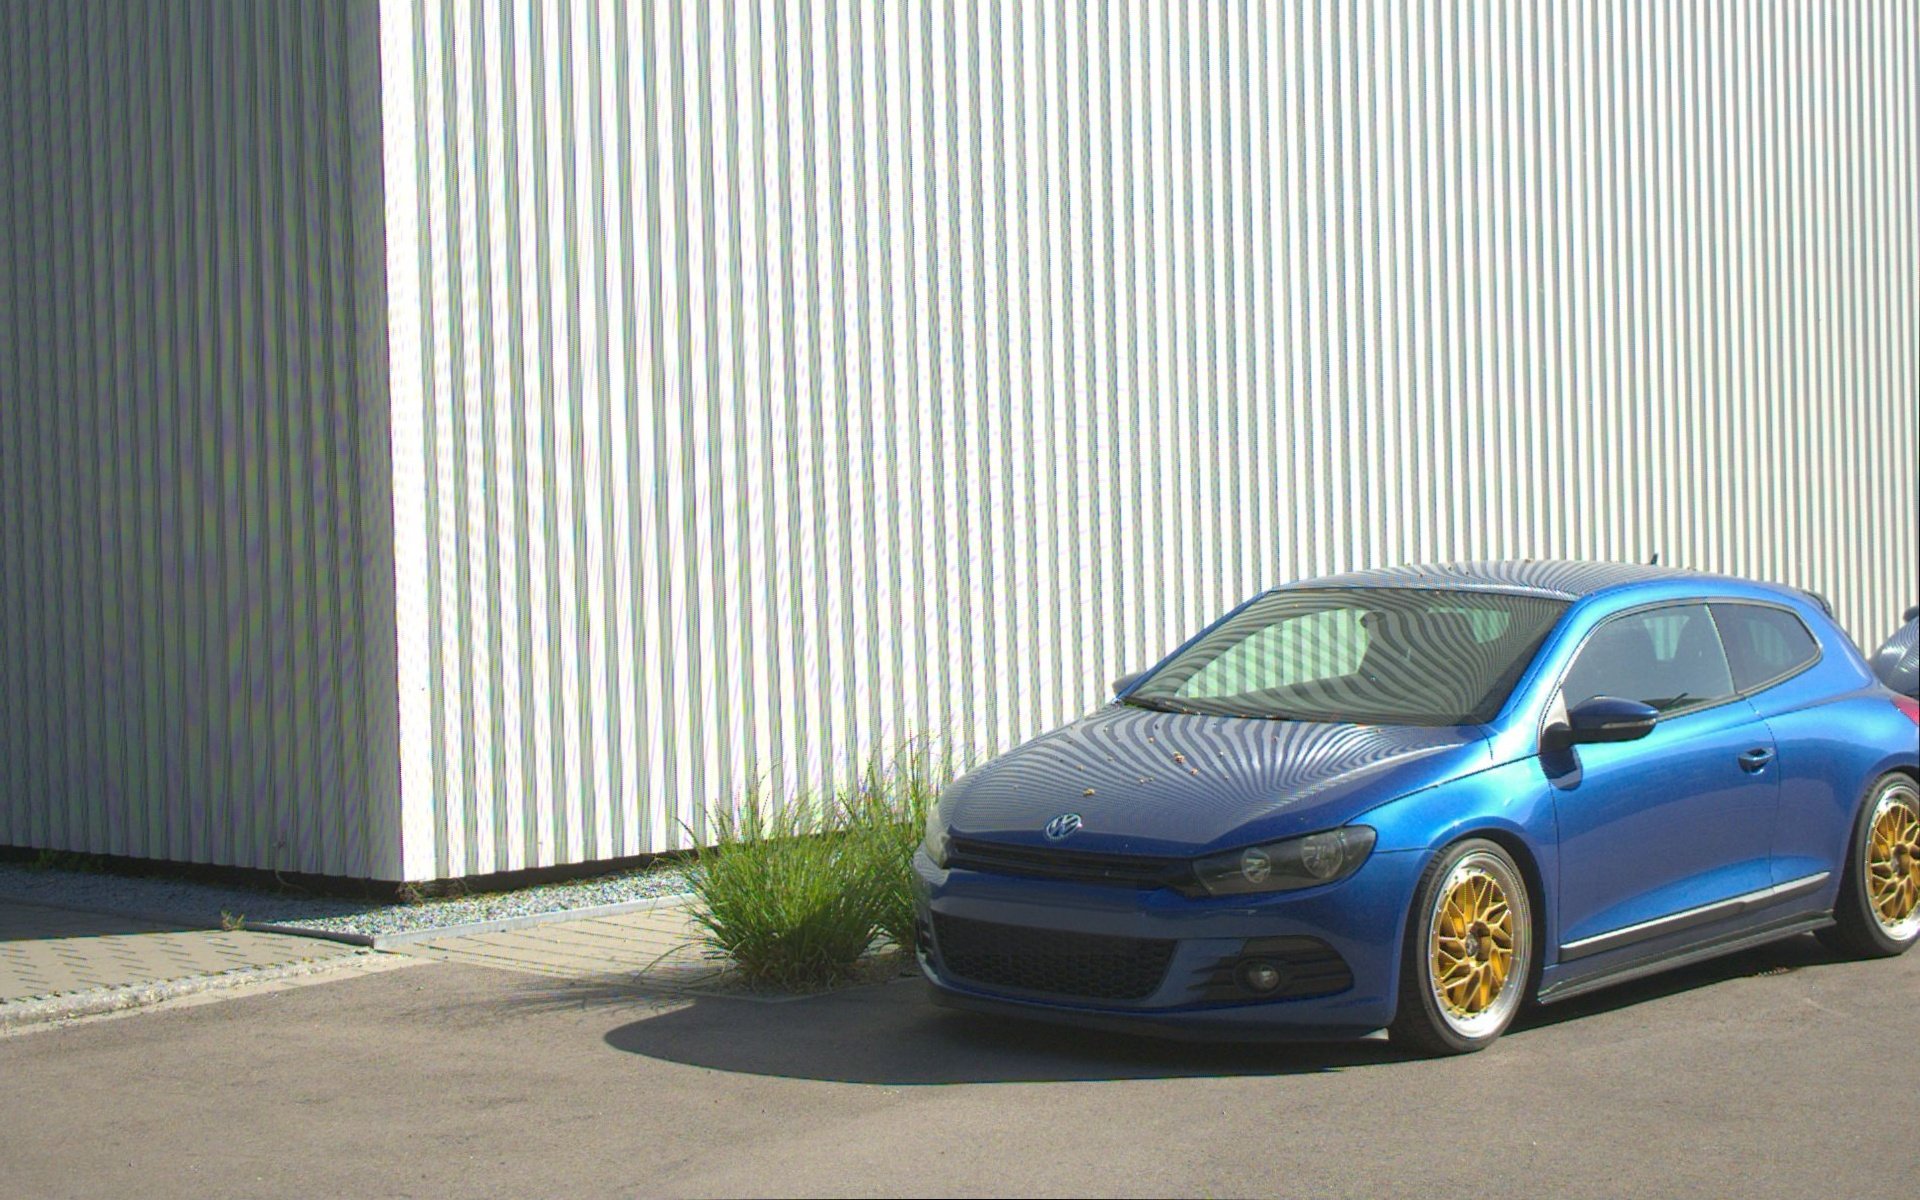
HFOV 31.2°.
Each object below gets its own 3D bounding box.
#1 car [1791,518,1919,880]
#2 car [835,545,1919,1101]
[{"bbox_3d":[5.305,0.349,15.127,1.623,1.442,3.756,1,3,42],"label":"car"},{"bbox_3d":[1.580,0.554,11.040,1.672,1.345,3.944,2,3,42],"label":"car"}]
